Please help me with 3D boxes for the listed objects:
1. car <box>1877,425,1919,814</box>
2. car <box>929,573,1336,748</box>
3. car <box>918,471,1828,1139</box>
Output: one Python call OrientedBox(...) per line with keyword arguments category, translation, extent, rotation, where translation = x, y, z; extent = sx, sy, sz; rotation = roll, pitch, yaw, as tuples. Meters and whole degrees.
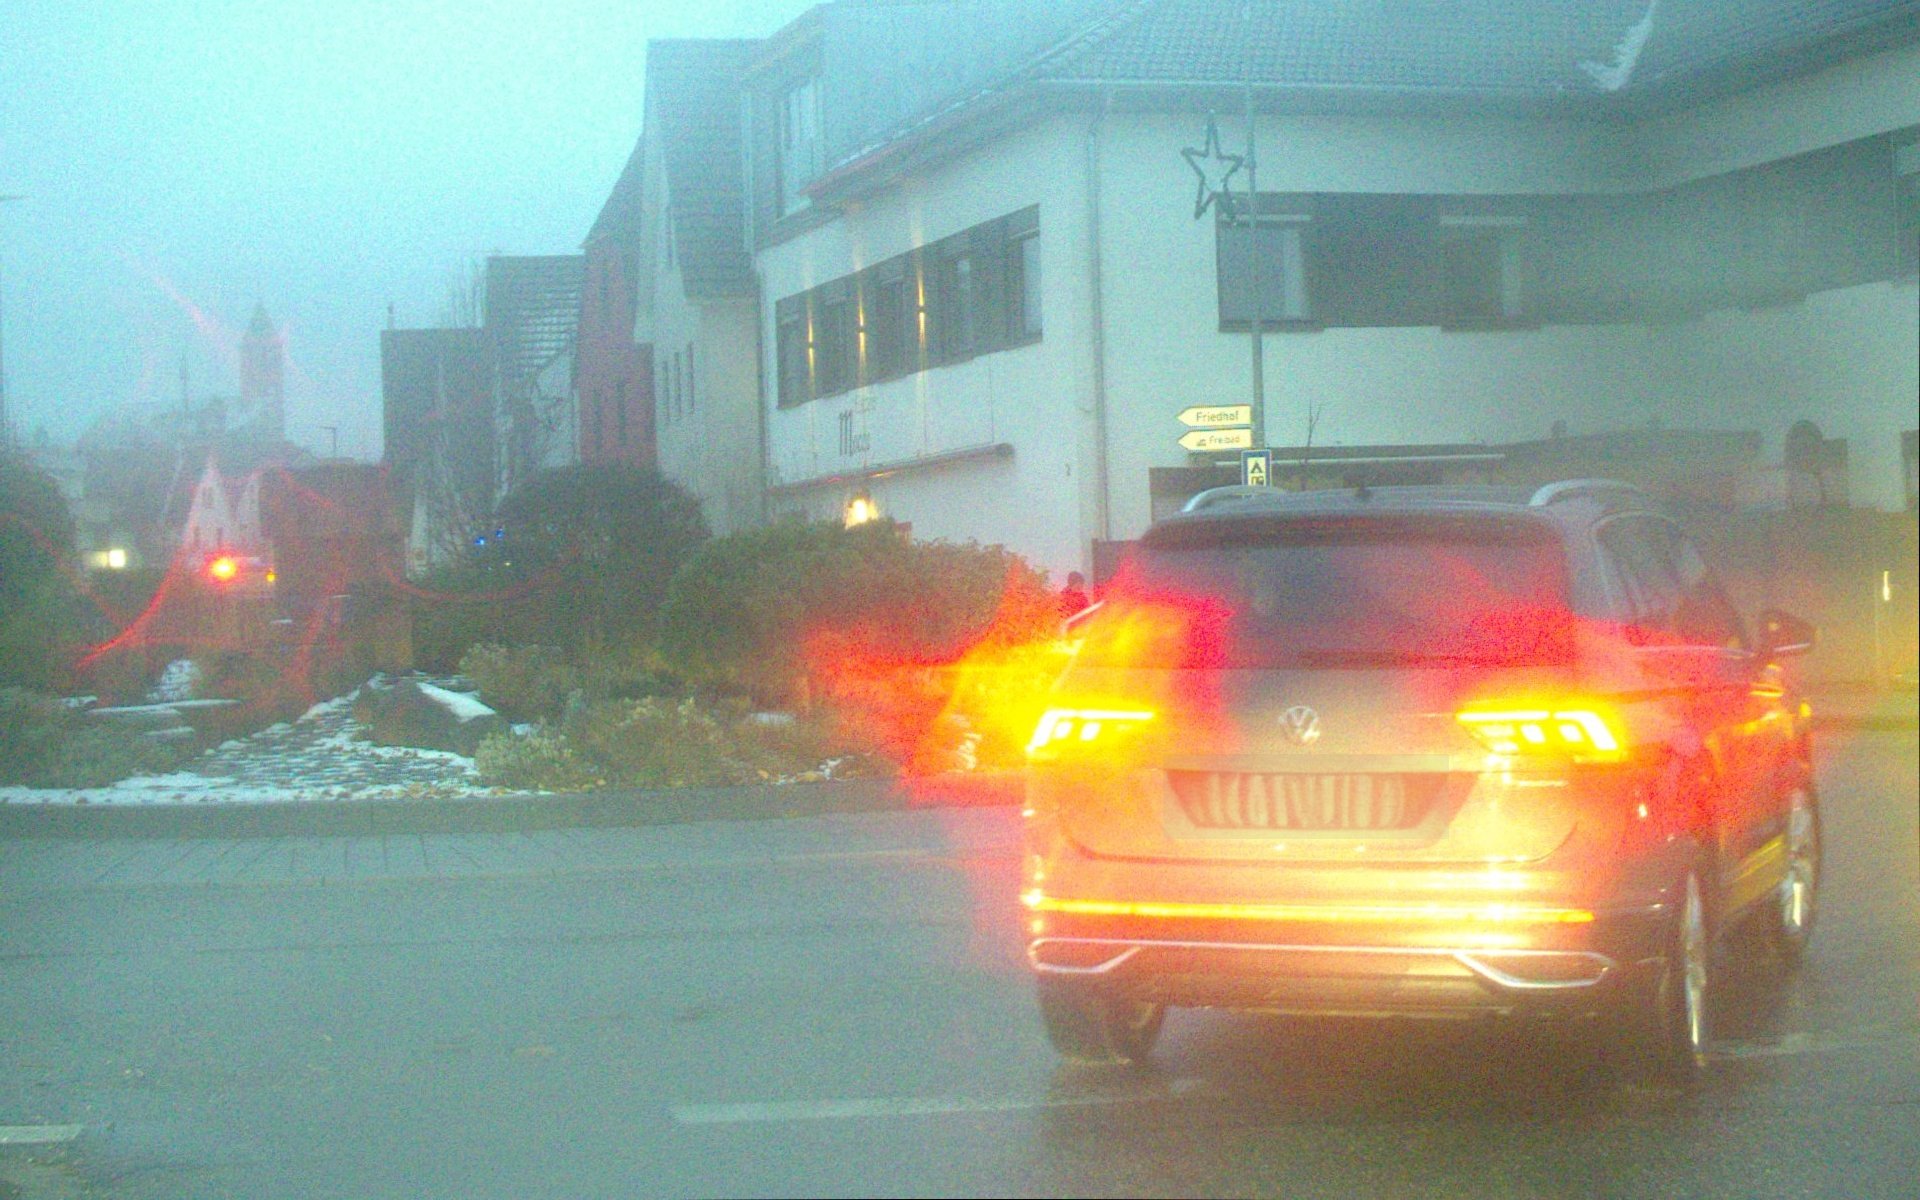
OrientedBox(category="car", translation=(7.359, 0.061, 18.590), extent=(4.885, 2.007, 2.000), rotation=(-1, 0, -36))
OrientedBox(category="car", translation=(1.591, 0.541, 32.963), extent=(1.778, 1.533, 3.931), rotation=(-2, 1, -36))
OrientedBox(category="car", translation=(1.461, 0.475, 10.462), extent=(1.917, 1.610, 3.946), rotation=(-1, 1, 19))
